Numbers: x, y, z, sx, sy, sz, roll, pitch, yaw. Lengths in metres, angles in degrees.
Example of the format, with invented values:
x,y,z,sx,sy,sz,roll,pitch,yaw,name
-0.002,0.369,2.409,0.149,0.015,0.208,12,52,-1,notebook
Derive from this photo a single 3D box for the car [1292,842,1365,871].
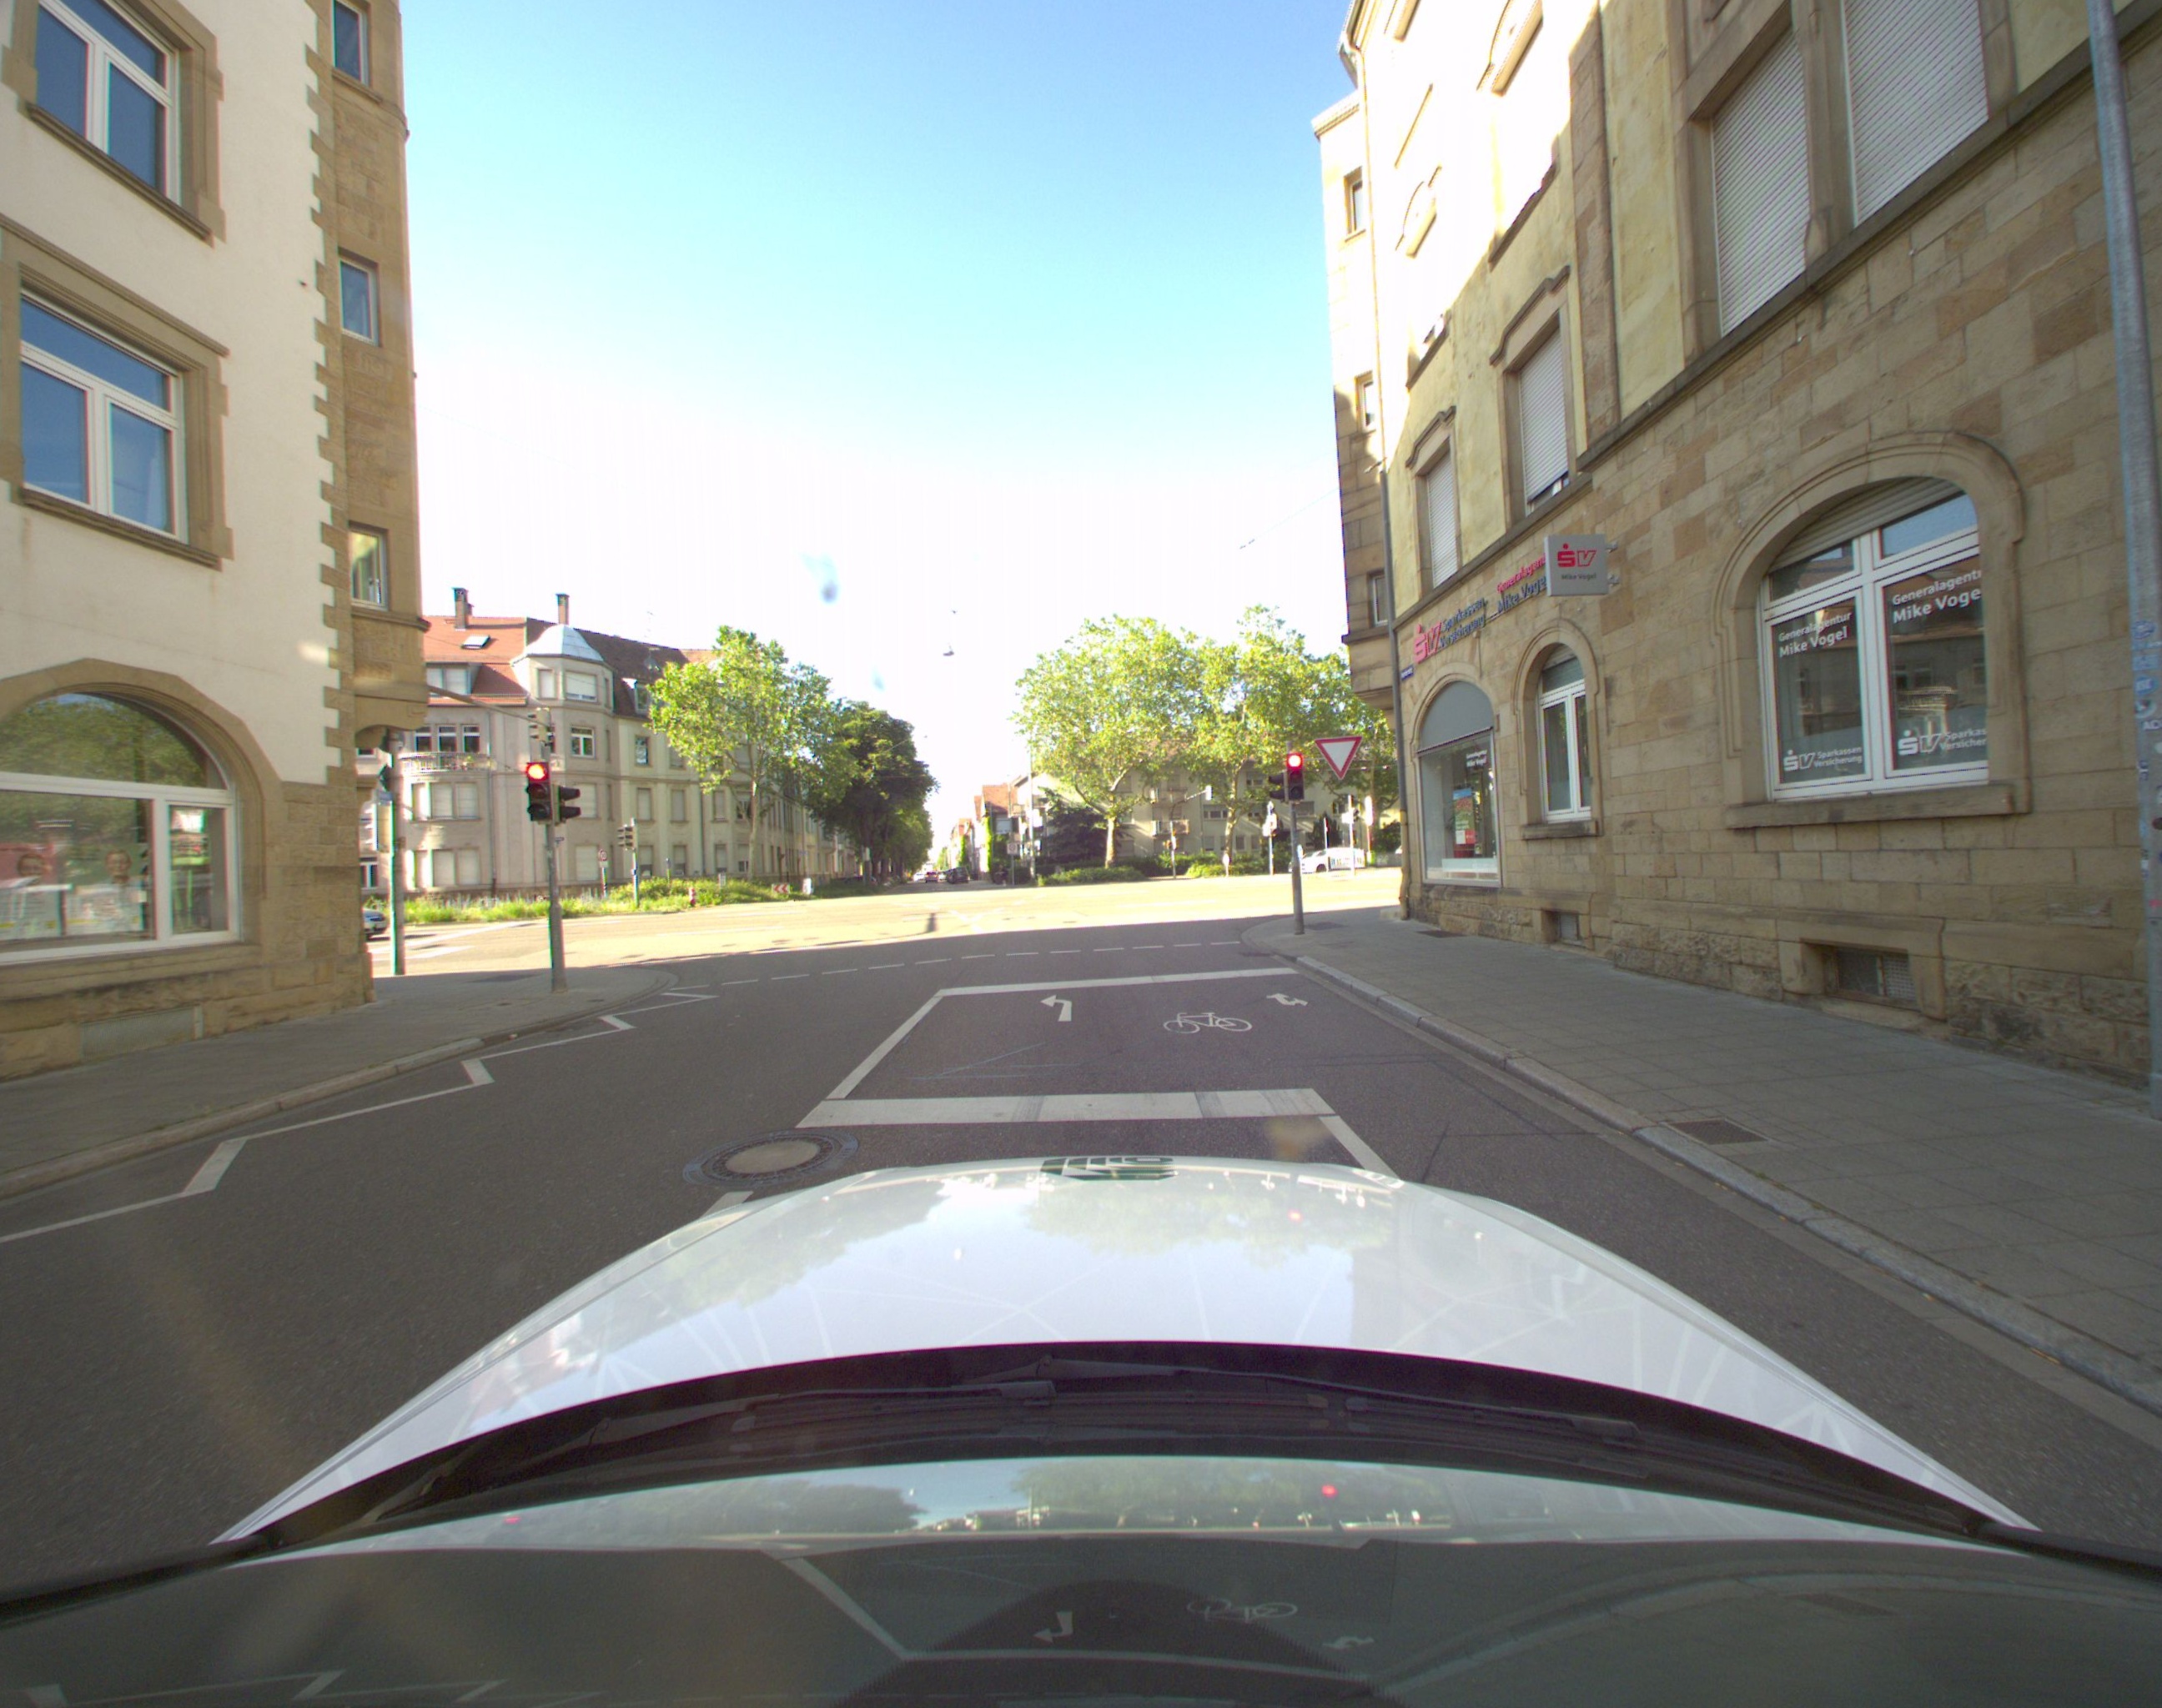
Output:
x,y,z,sx,sy,sz,roll,pitch,yaw,name
14.438,0.134,47.505,3.801,1.472,1.618,-3,0,-21,car

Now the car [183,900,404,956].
x,y,z,sx,sy,sz,roll,pitch,yaw,name
-21.726,2.000,22.672,3.995,1.319,1.812,0,-1,-16,car

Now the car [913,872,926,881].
x,y,z,sx,sy,sz,roll,pitch,yaw,name
-28.517,4.000,143.694,1.995,1.445,3.983,-3,0,-12,car

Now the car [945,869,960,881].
x,y,z,sx,sy,sz,roll,pitch,yaw,name
-20.071,3.258,126.970,1.996,1.833,3.980,-1,-1,-14,car

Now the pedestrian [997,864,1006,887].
x,y,z,sx,sy,sz,roll,pitch,yaw,name
-6.022,1.610,61.636,0.631,1.750,0.658,-2,-1,-3,pedestrian

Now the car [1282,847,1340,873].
x,y,z,sx,sy,sz,roll,pitch,yaw,name
15.308,0.403,54.171,3.391,1.487,1.514,-3,0,-20,car

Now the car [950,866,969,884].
x,y,z,sx,sy,sz,roll,pitch,yaw,name
-14.350,2.450,96.273,1.992,2.013,3.989,-3,0,-8,car

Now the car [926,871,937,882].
x,y,z,sx,sy,sz,roll,pitch,yaw,name
-22.569,3.406,122.994,1.675,1.483,3.508,-2,-1,-11,car

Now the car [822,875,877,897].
x,y,z,sx,sy,sz,roll,pitch,yaw,name
-18.292,2.502,64.387,3.997,1.486,1.672,-3,0,-17,car

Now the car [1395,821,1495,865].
x,y,z,sx,sy,sz,roll,pitch,yaw,name
23.901,-0.703,53.471,6.055,2.568,1.989,-3,0,-17,car
